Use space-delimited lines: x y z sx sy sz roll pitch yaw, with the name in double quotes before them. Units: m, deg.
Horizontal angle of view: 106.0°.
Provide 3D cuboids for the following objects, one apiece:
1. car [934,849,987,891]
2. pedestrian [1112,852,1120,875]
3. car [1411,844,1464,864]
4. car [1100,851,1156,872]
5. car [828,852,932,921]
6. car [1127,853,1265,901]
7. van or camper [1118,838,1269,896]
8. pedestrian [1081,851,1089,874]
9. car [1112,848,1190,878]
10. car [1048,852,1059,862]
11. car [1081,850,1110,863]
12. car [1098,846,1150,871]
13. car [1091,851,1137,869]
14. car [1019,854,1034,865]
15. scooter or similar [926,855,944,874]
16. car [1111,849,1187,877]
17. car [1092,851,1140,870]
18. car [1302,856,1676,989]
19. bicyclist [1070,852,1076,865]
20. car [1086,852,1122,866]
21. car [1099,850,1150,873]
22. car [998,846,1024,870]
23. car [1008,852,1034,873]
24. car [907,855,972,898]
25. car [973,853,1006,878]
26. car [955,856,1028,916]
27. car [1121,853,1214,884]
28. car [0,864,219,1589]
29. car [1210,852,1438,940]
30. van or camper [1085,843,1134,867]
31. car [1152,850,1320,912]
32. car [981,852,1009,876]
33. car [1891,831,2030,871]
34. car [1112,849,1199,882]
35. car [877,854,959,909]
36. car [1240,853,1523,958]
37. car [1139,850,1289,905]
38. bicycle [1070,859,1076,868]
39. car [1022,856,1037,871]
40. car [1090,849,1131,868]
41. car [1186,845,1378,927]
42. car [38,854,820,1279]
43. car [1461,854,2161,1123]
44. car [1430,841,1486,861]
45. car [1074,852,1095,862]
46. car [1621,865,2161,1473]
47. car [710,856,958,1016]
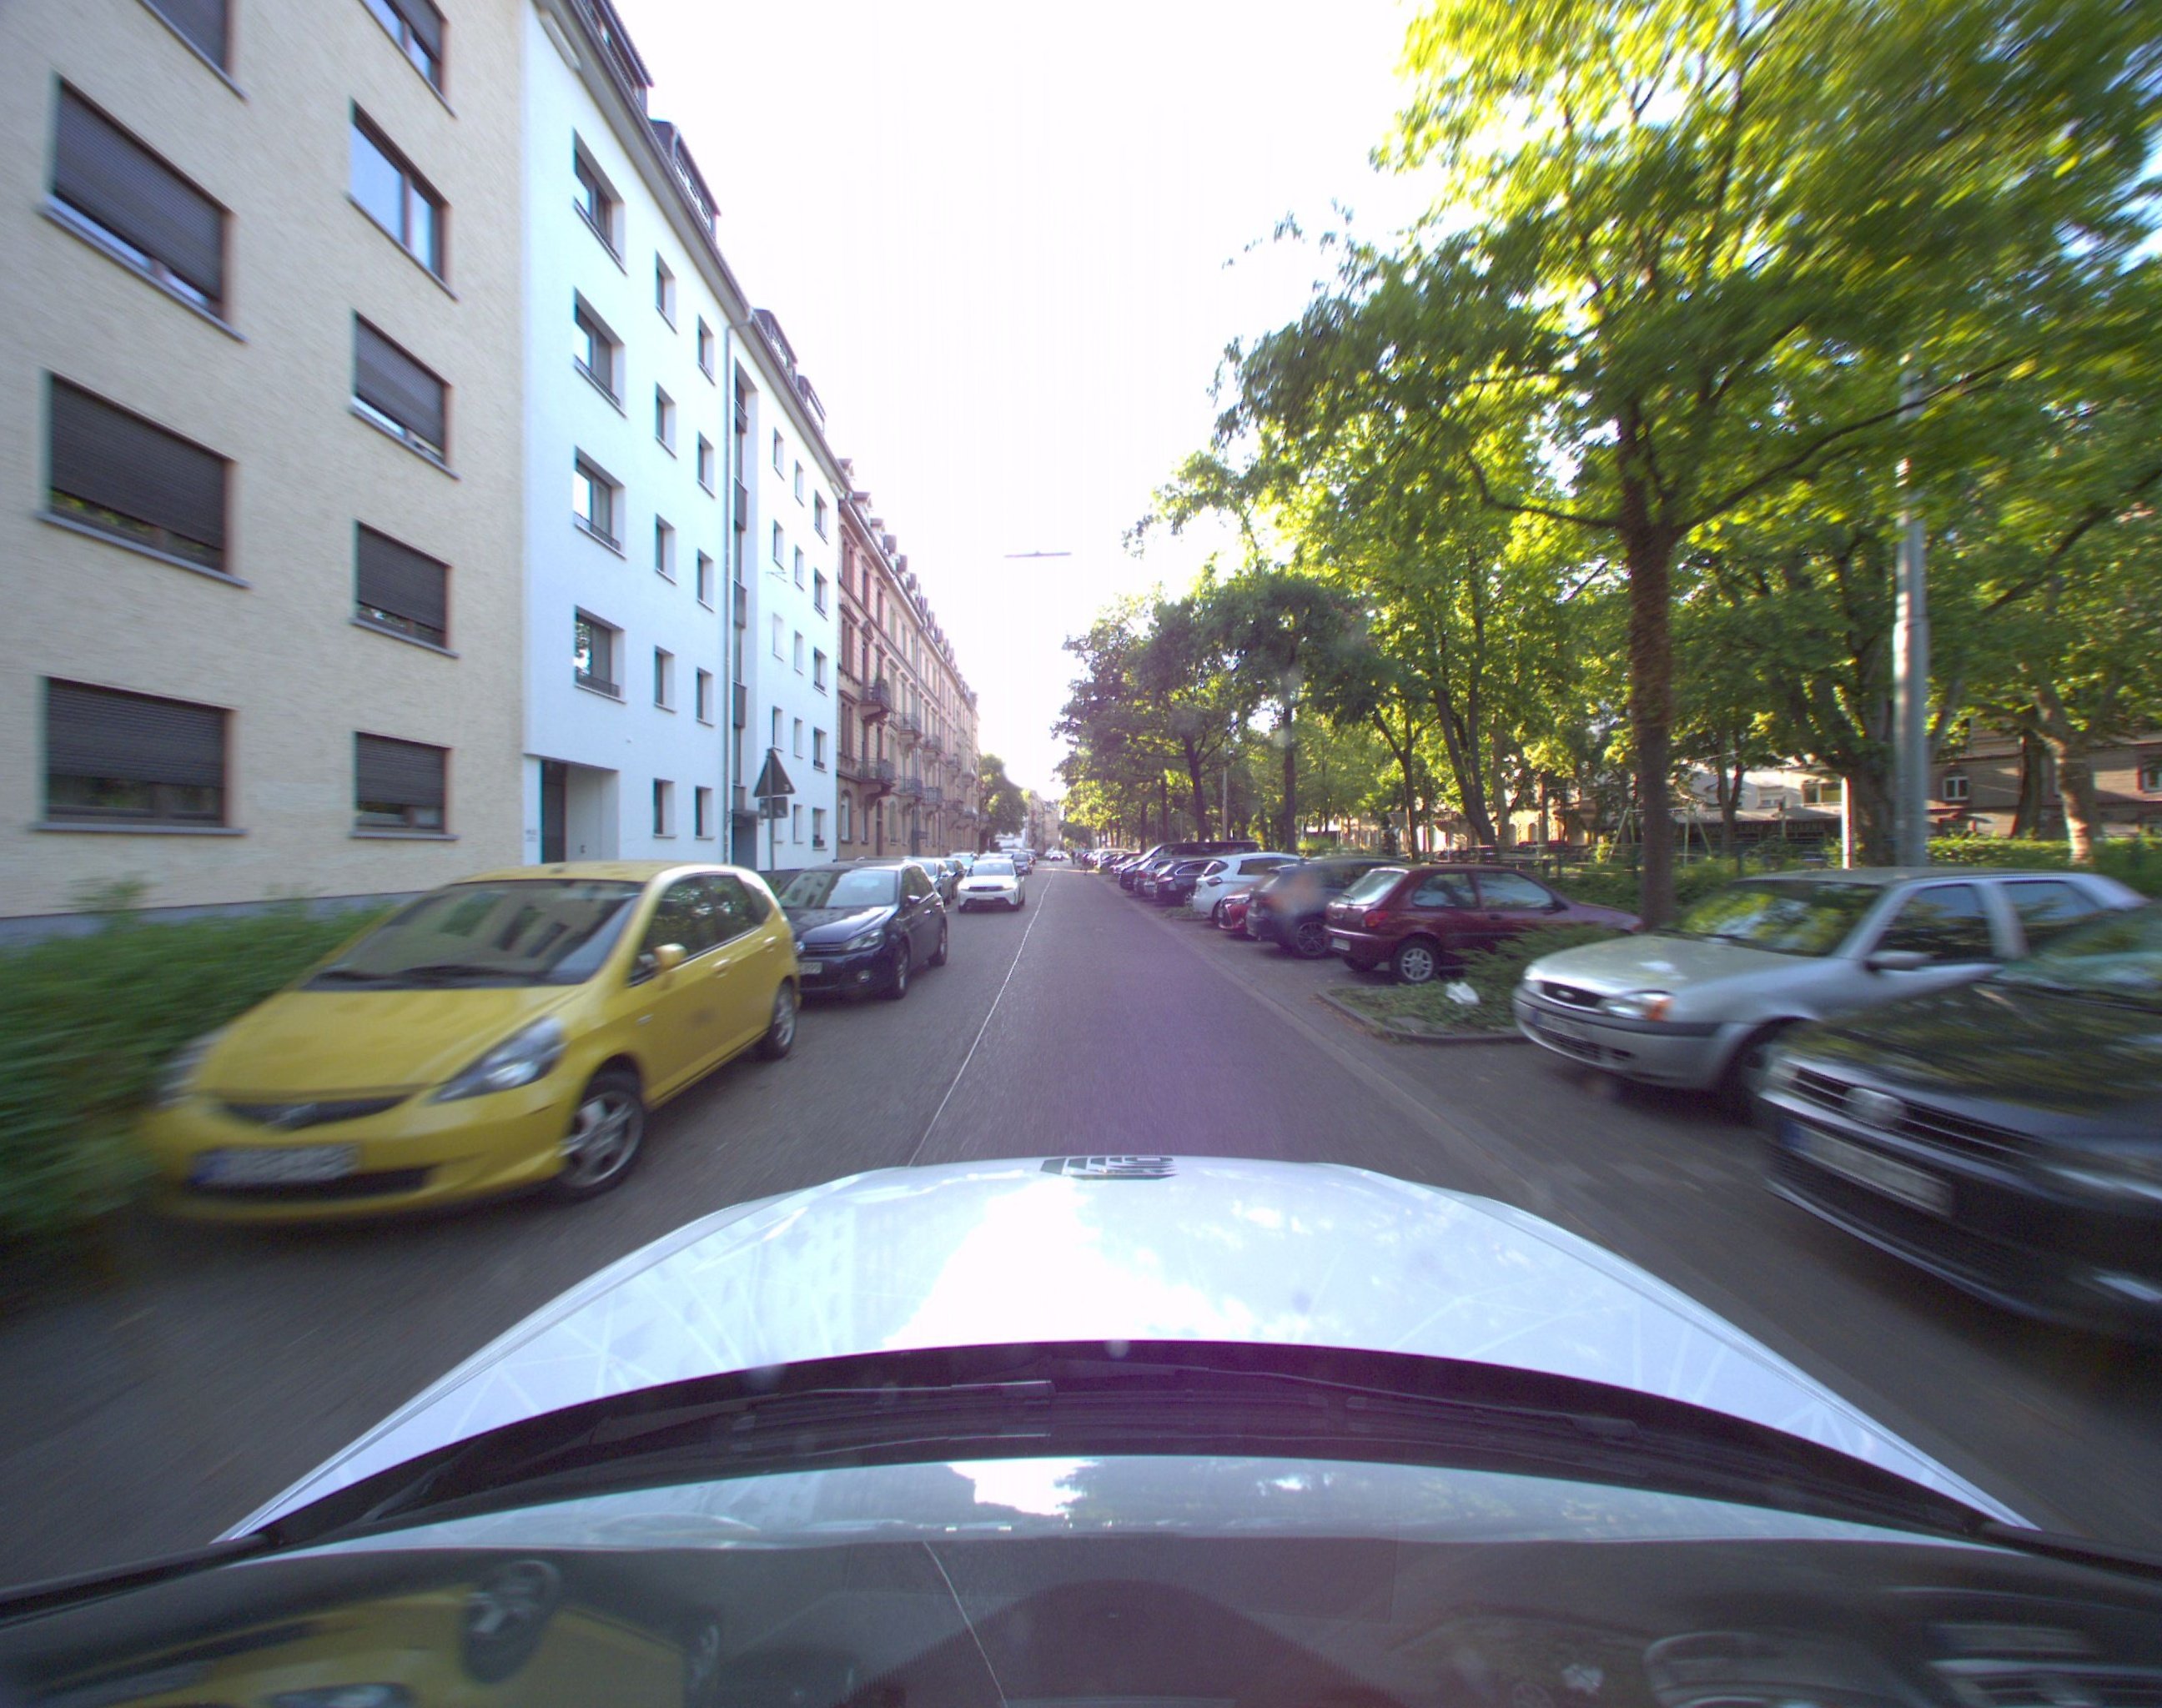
"car" -5.195 0.651 35.579 1.747 1.706 4.197 1 0 -2
"pedestrian" 2.359 0.654 54.696 0.377 1.516 0.521 0 2 18
"car" 32.294 0.027 73.762 3.976 1.684 1.998 1 -2 -2
"car" 3.579 0.584 62.616 4.073 1.442 1.759 -2 0 -4
"car" -4.966 0.750 20.636 1.664 1.508 3.997 3 0 -2
"car" 3.873 0.774 27.948 4.391 1.501 1.834 -1 -2 -5
"van or camper" 4.125 0.458 30.478 5.395 2.027 2.030 -1 0 0
"pedestrian" 0.282 0.593 56.976 0.377 1.584 0.521 0 2 18
"car" 4.072 0.523 47.693 4.386 1.591 1.837 -1 -1 -1
"car" -4.249 0.492 126.570 1.664 1.464 3.997 -1 0 -2
"car" 2.022 0.371 115.212 3.979 1.794 1.856 1 -2 -5
"car" 3.551 0.371 67.963 4.207 1.864 1.761 -2 0 -1
"car" 3.032 0.529 75.393 4.207 1.453 1.864 -2 0 -1
"car" -6.978 0.688 105.465 1.752 1.466 4.265 1 0 -2
"scooter or similar" -10.134 0.732 56.470 0.781 1.222 2.702 1 -2 -1
"car" 4.174 0.553 50.298 4.394 1.591 1.833 -1 -1 -7
"car" 3.151 0.569 72.502 4.203 1.453 1.650 -2 0 2
"car" 4.899 0.782 10.107 3.776 1.401 1.763 -1 -2 -6
"bicyclist" -0.989 0.602 99.848 0.626 1.573 0.801 1 -2 -3
"car" 2.670 0.546 95.011 3.979 1.548 1.856 1 -2 -5
"car" 3.164 0.536 60.030 3.663 1.501 1.761 -2 0 -1
"car" -5.977 0.397 70.119 1.989 1.921 5.034 1 -2 -2
"car" -4.342 0.627 58.935 1.498 1.435 2.755 -1 0 3
"car" -5.187 0.783 30.293 1.610 1.451 4.001 2 0 1
"car" -5.641 0.682 50.508 1.750 1.464 3.995 2 0 -3
"car" -2.531 0.847 23.758 1.663 1.430 3.999 -3 1 -1
"car" 4.215 0.698 40.164 4.384 1.440 1.838 -1 -1 0
"car" -3.073 0.790 0.251 1.561 1.517 3.782 -1 0 0
"car" 4.439 0.762 15.252 3.769 1.474 1.664 -1 -2 0
"van or camper" 2.955 0.132 85.030 4.971 2.377 2.182 1 -2 -4
"car" 4.192 0.740 22.545 4.380 1.577 1.666 -1 -2 3
"car" -5.832 0.639 54.992 1.745 1.546 4.141 1 0 -7
"car" 47.263 -0.110 43.899 2.001 2.014 4.704 2 -2 -22
"car" 3.892 0.603 42.912 4.388 1.591 1.836 -1 -1 -2
"car" -4.962 0.781 25.372 1.663 1.471 4.282 3 0 -1
"car" 4.459 0.771 12.544 3.765 1.447 1.666 -1 -2 4
"car" 4.060 0.716 25.342 4.384 1.577 1.664 -1 -2 0
"bicycle" -0.999 1.151 99.786 0.639 1.100 1.942 1 -2 -2
"car" -6.995 1.303 110.996 1.952 2.018 4.265 1 0 -2
"car" 2.905 0.436 80.465 3.975 1.691 1.858 -2 0 -1
"car" 4.300 0.681 17.844 3.771 1.646 1.663 -1 -2 -1
"car" -2.985 0.775 4.879 1.698 1.525 3.771 -1 0 -2
"car" 4.777 0.745 5.353 3.772 1.401 1.663 -1 -2 -2
"car" 32.812 -0.243 70.861 3.976 1.684 1.998 1 -2 -2
"car" 0.749 0.605 172.720 3.963 2.014 2.005 1 -2 10
"car" 4.403 0.744 2.878 3.770 1.401 1.826 -1 -2 -1
"car" -2.682 0.796 9.839 1.734 1.479 4.000 -1 0 0
